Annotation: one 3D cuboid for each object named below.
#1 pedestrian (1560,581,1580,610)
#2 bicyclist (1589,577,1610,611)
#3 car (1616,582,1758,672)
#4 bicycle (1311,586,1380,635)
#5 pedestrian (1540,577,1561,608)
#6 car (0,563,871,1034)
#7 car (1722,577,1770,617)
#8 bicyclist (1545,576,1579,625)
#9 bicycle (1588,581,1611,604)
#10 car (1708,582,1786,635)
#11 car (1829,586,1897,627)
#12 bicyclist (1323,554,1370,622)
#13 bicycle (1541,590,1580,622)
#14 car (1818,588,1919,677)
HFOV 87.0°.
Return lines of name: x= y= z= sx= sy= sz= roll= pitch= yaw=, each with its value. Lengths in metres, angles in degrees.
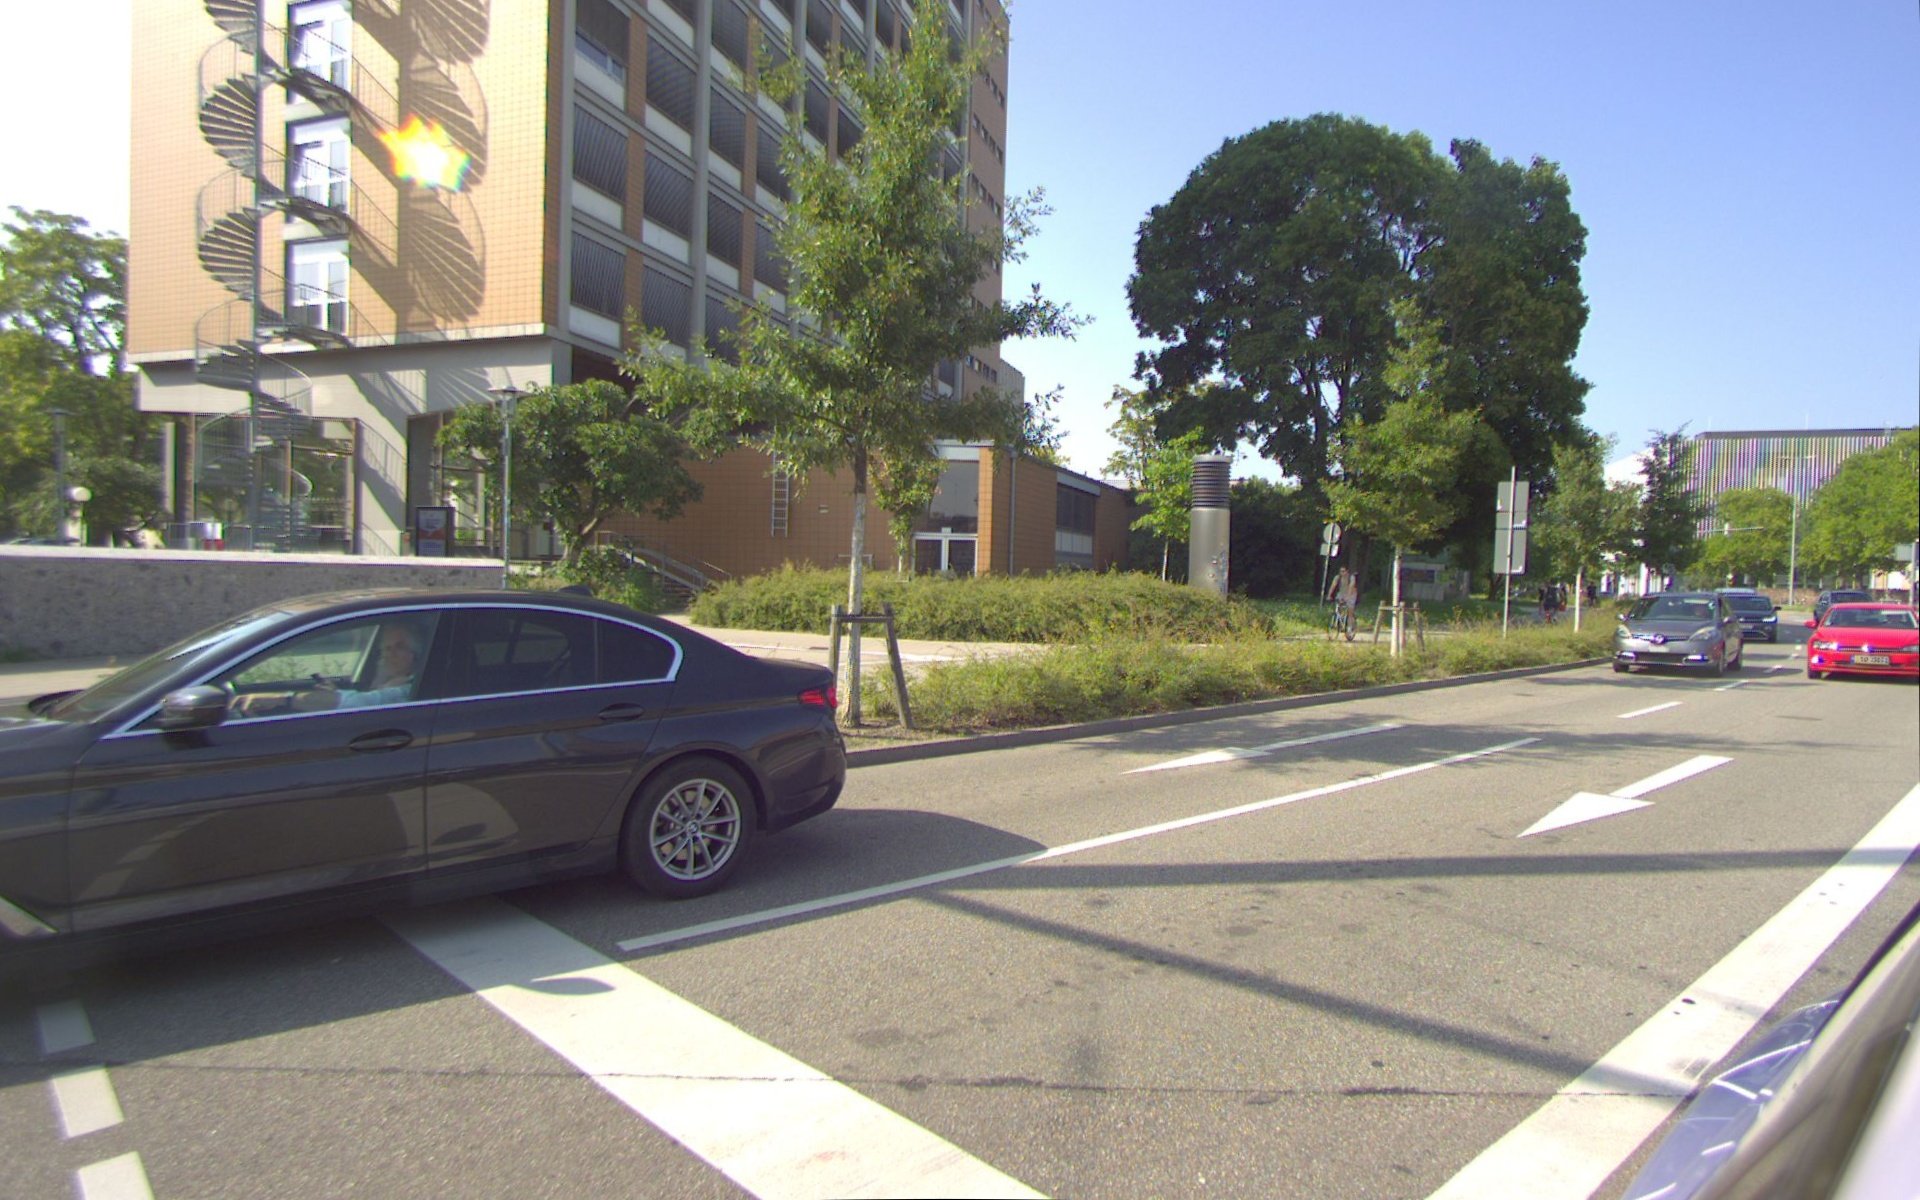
pedestrian: x=38.917 y=-0.279 z=64.539 sx=0.955 sy=1.804 sz=0.990 roll=4 pitch=3 yaw=35
bicyclist: x=32.145 y=-0.297 z=50.858 sx=0.769 sy=1.697 sz=0.912 roll=2 pitch=1 yaw=37
car: x=14.885 y=0.477 z=20.633 sx=1.778 sy=1.626 sz=4.352 roll=2 pitch=1 yaw=43
bicycle: x=9.391 y=0.228 z=24.611 sx=0.771 sy=1.131 sz=2.268 roll=2 pitch=2 yaw=43
pedestrian: x=28.832 y=-0.383 z=49.383 sx=0.724 sy=1.461 sz=0.845 roll=2 pitch=1 yaw=40
car: x=-2.778 y=0.620 z=4.566 sx=4.589 sy=1.510 sz=1.686 roll=0 pitch=1 yaw=-39
car: x=40.746 y=-0.179 z=52.515 sx=1.678 sy=1.966 sz=4.317 roll=2 pitch=2 yaw=35
bicyclist: x=19.215 y=0.008 z=32.310 sx=0.719 sy=1.531 sz=0.989 roll=2 pitch=2 yaw=43
bicycle: x=32.171 y=-0.371 z=50.900 sx=0.769 sy=1.131 sz=2.273 roll=2 pitch=2 yaw=37
car: x=26.534 y=0.269 z=34.235 sx=1.930 sy=1.627 sz=4.473 roll=1 pitch=0 yaw=36
car: x=40.512 y=0.320 z=45.498 sx=1.772 sy=1.742 sz=4.474 roll=-1 pitch=-1 yaw=36
bicyclist: x=9.395 y=-0.305 z=24.602 sx=0.771 sy=1.613 sz=0.910 roll=2 pitch=1 yaw=43
bicycle: x=19.141 y=0.177 z=32.243 sx=0.719 sy=0.971 sz=1.892 roll=2 pitch=2 yaw=42
car: x=17.853 y=0.555 z=19.449 sx=4.301 sy=1.510 sz=1.684 roll=0 pitch=2 yaw=-45
